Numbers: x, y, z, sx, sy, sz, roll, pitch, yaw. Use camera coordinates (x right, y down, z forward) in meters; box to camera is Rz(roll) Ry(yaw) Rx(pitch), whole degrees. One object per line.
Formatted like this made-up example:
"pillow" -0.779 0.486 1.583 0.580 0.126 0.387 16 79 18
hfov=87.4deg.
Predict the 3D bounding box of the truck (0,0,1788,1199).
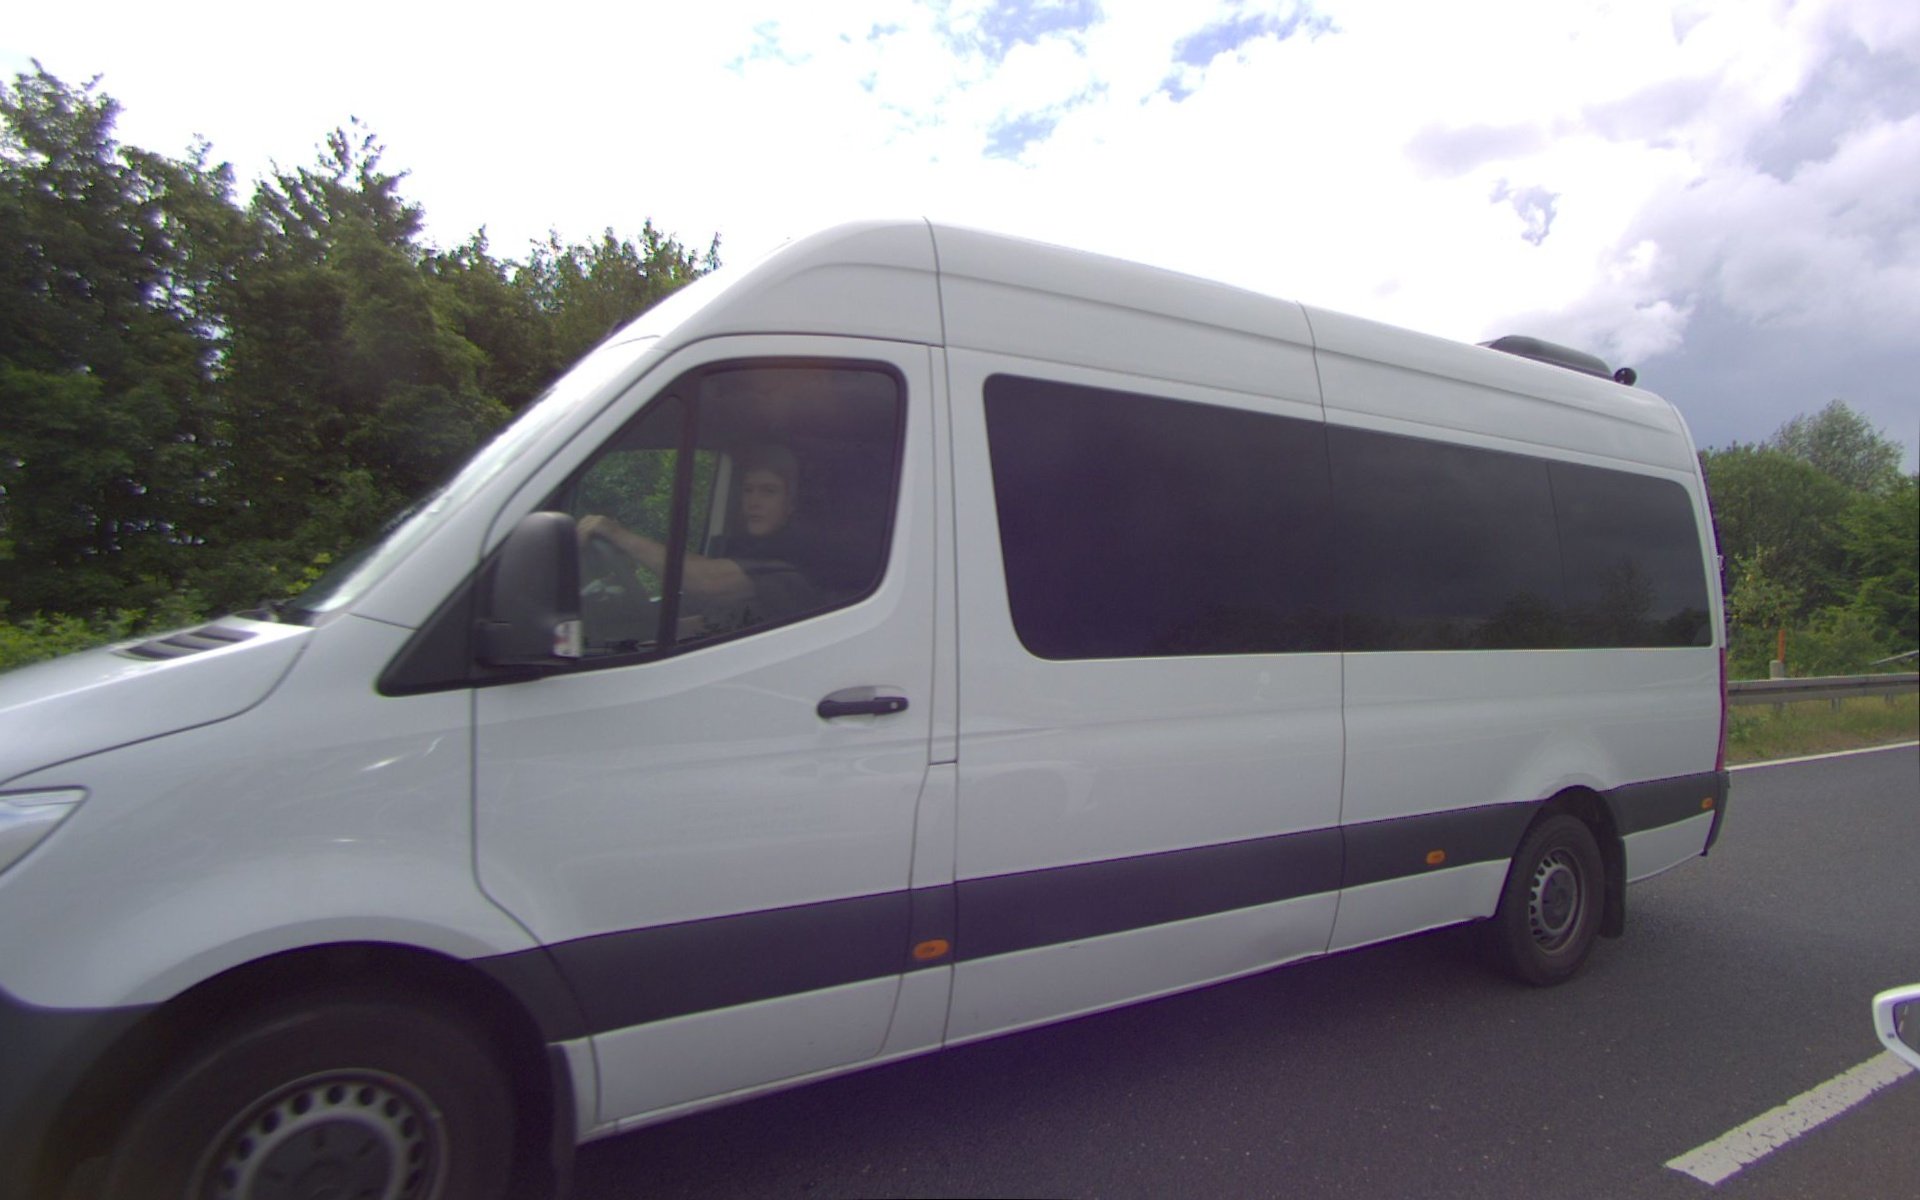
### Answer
"truck" 0.619 0.058 4.118 6.926 2.779 2.055 1 0 -31
